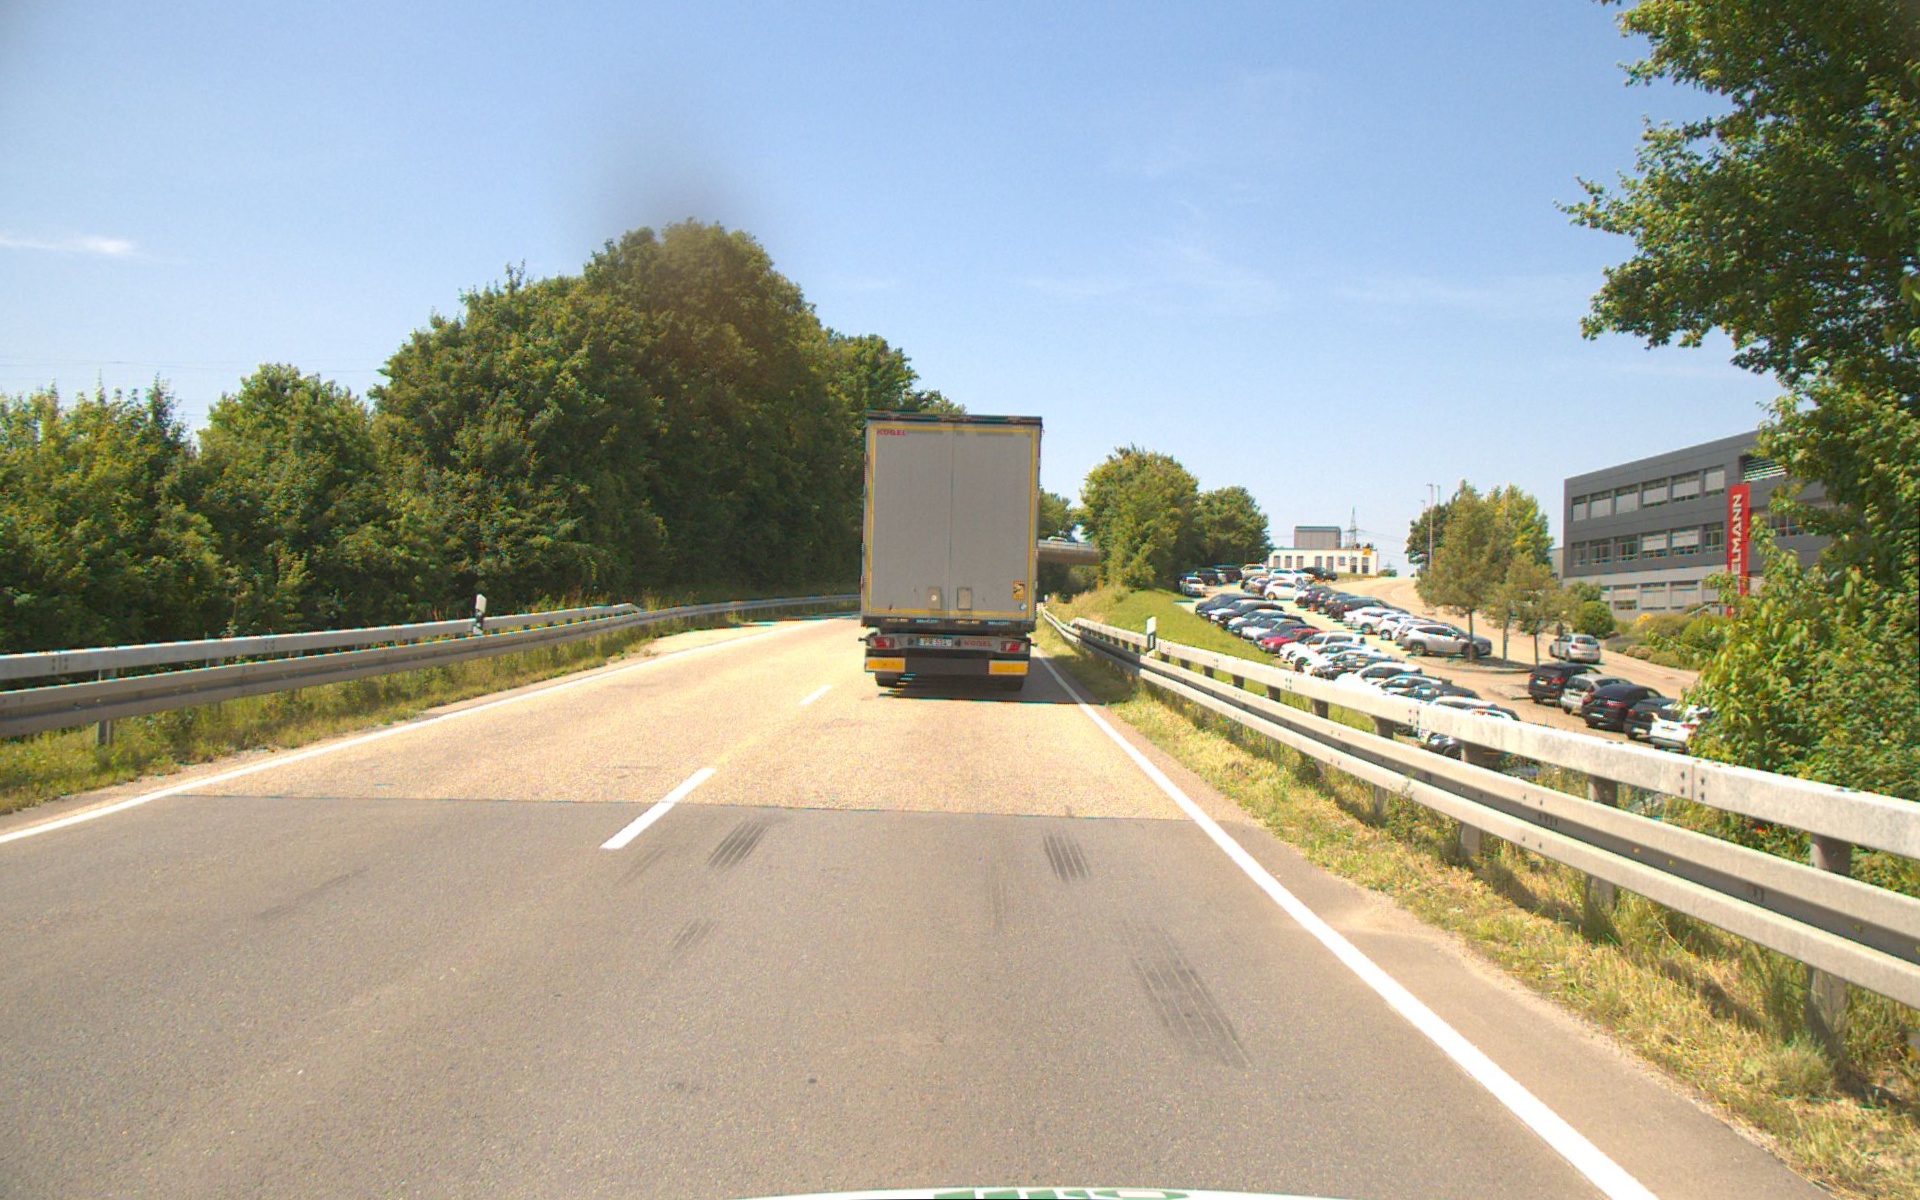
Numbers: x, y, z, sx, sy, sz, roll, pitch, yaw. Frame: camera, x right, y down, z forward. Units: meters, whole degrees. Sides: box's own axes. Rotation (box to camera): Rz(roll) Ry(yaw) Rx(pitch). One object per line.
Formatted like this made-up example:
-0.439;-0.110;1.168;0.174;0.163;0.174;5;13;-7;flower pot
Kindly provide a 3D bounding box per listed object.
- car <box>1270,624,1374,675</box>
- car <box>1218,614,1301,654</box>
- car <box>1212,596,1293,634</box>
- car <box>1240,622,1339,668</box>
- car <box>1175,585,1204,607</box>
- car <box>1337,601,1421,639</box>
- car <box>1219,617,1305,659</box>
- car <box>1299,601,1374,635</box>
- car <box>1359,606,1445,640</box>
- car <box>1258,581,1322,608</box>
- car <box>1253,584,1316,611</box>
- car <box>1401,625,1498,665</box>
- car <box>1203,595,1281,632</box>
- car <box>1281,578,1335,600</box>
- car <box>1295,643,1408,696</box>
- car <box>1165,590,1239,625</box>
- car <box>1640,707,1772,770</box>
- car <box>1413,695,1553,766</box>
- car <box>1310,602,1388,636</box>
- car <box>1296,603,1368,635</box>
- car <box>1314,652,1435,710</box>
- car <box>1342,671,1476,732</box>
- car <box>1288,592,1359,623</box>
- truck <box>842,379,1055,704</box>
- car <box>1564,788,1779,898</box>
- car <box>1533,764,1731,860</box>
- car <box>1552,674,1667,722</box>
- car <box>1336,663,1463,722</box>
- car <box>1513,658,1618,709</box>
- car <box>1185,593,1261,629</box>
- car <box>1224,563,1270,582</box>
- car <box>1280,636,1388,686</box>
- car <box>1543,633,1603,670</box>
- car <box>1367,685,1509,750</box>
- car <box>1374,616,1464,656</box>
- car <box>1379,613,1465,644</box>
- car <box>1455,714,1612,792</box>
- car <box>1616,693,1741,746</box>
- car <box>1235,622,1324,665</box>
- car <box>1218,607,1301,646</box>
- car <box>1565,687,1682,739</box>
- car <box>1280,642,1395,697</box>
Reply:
17.095;2.305;78.077;4.360;1.713;1.887;8;3;24;car
16.398;1.859;90.441;4.327;1.713;1.867;5;3;-36;car
17.219;0.905;97.201;4.311;1.713;1.873;5;3;-27;car
16.227;2.228;81.446;4.300;1.713;1.878;6;3;-21;car
18.330;-0.343;132.292;1.592;1.376;3.711;7;3;-2;car
25.452;1.210;100.484;4.490;1.655;1.818;9;3;28;car
15.931;2.010;87.186;4.327;1.713;1.867;5;3;-36;car
25.548;1.210;112.169;4.490;1.655;1.818;9;3;28;car
25.861;1.334;96.883;4.491;1.545;1.816;4;6;33;car
25.394;-0.428;127.226;4.481;1.656;1.820;5;2;23;car
25.513;-0.225;130.064;4.481;1.656;1.820;6;2;23;car
25.095;2.294;84.857;4.484;1.656;1.819;3;4;27;car
17.148;0.841;100.553;4.311;1.713;1.873;5;3;-27;car
32.585;-1.036;154.944;4.497;1.657;1.813;5;1;36;car
16.897;2.964;71.393;4.282;1.585;1.886;8;3;26;car
15.606;0.467;106.491;4.311;1.713;1.873;5;3;-27;car
25.635;4.724;56.786;4.526;1.688;1.803;1;5;-32;car
16.985;4.204;53.751;4.036;1.543;1.678;8;3;25;car
25.518;1.236;108.549;4.490;1.655;1.818;9;3;28;car
25.874;1.306;115.084;4.490;1.655;1.818;9;3;28;car
16.538;3.214;66.055;4.282;1.585;1.860;8;3;26;car
16.392;3.672;60.426;4.285;1.480;1.816;9;3;29;car
25.938;0.537;118.176;4.490;1.655;1.818;9;3;28;car
-0.196;-0.886;28.025;2.808;4.435;9.788;2;1;-1;truck
17.609;5.953;40.976;4.624;1.590;1.958;8;3;27;car
17.891;5.593;44.064;4.624;1.512;1.912;8;3;27;car
25.717;3.850;65.443;4.526;1.565;1.803;1;5;-32;car
16.712;3.483;62.913;4.282;1.480;1.817;8;3;26;car
25.165;3.449;68.731;4.185;1.656;1.803;-1;6;-31;car
16.458;0.695;103.582;4.311;1.713;1.873;5;3;-27;car
29.442;-2.799;169.627;4.310;1.714;1.873;1;5;-27;car
16.924;2.719;74.844;4.287;1.585;1.884;9;3;31;car
32.350;2.695;87.371;1.769;1.690;4.002;4;1;3;car
16.368;3.989;56.657;4.285;1.417;1.816;9;3;29;car
25.284;1.950;91.175;4.485;1.655;1.819;5;7;27;car
26.179;1.602;93.732;4.483;1.503;1.819;1;4;27;car
17.530;4.639;50.540;4.279;1.515;1.710;8;3;24;car
26.070;4.305;59.980;4.526;1.538;1.803;1;5;-32;car
16.303;2.229;84.433;4.327;1.713;1.867;5;3;-36;car
17.012;1.505;93.924;4.311;1.713;1.873;5;3;-27;car
25.008;4.229;62.318;4.532;1.538;1.800;0;6;-35;car
15.799;2.884;69.240;4.282;1.585;1.886;8;3;26;car
